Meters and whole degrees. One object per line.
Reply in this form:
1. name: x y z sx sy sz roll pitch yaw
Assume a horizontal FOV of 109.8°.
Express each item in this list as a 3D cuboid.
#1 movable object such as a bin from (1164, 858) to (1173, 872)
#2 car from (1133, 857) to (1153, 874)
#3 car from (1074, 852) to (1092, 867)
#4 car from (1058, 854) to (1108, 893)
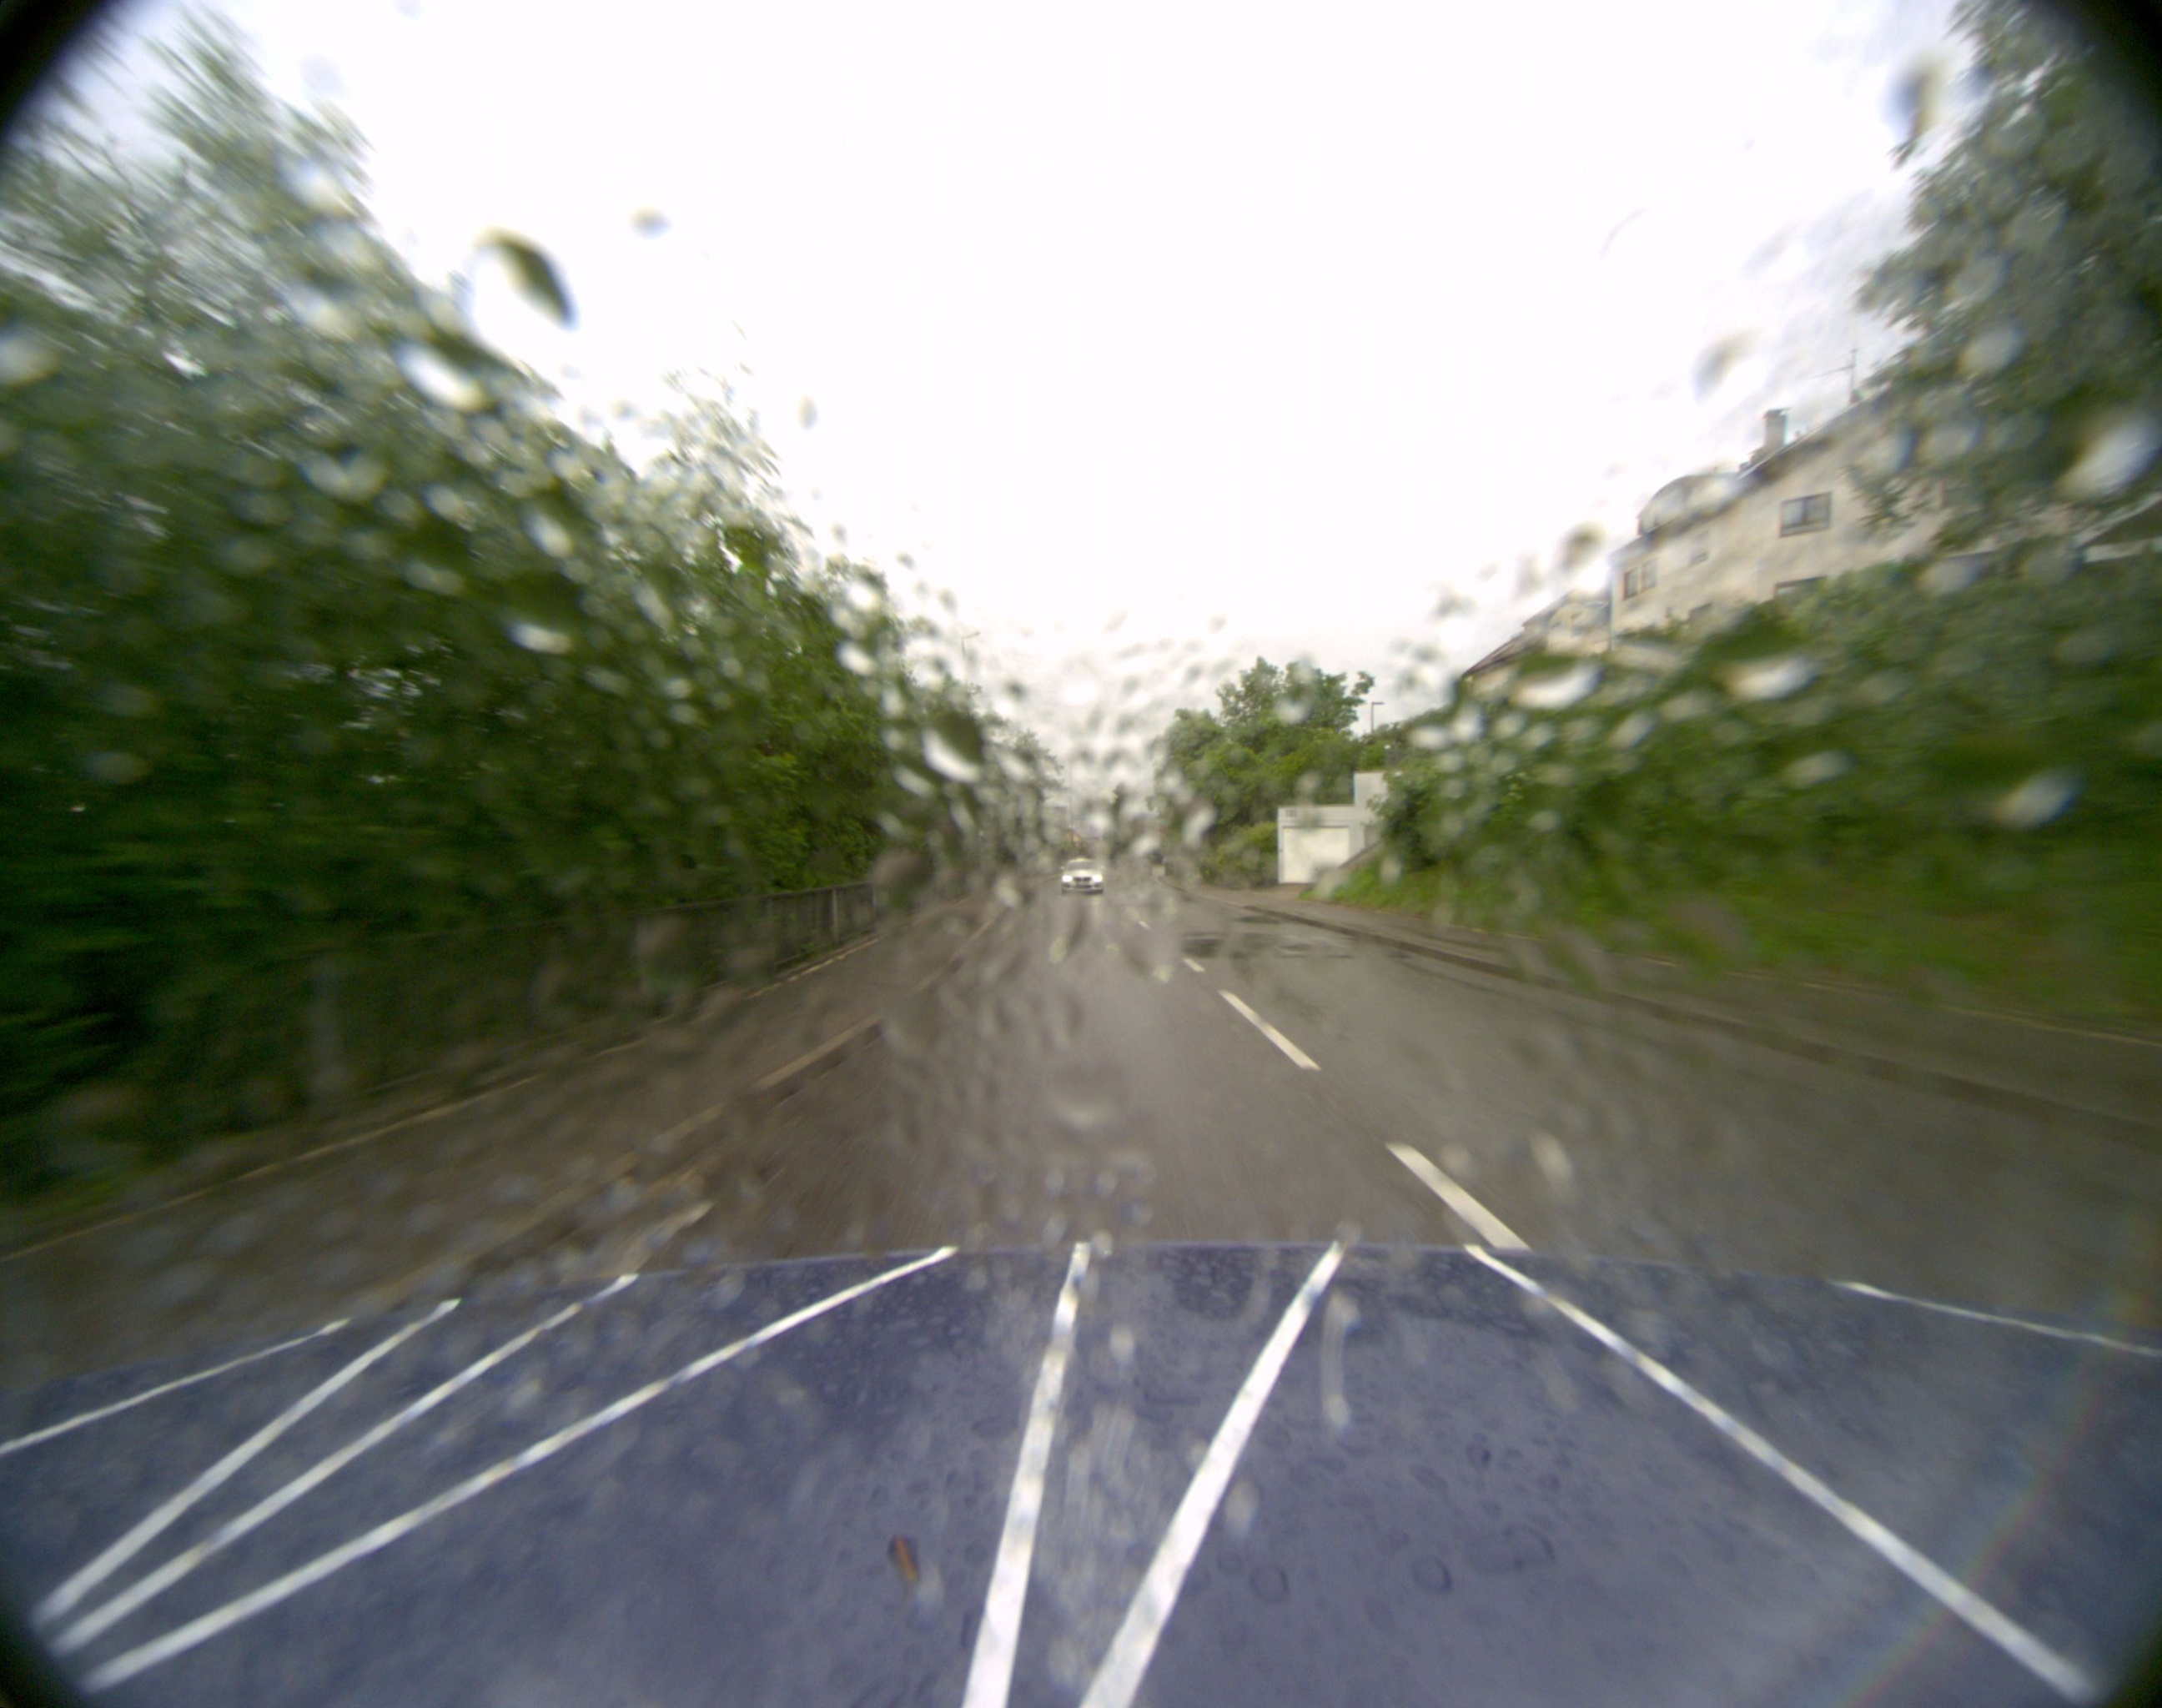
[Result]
1. movable object such as a bin: 6.845 0.841 59.543 0.649 1.109 0.505 1 1 8
2. car: 5.426 0.986 67.053 1.654 1.377 3.530 0 0 3
3. car: 0.253 0.633 89.919 1.630 1.485 3.428 7 2 8
4. car: 0.151 0.835 34.425 1.797 1.455 4.001 3 2 6
